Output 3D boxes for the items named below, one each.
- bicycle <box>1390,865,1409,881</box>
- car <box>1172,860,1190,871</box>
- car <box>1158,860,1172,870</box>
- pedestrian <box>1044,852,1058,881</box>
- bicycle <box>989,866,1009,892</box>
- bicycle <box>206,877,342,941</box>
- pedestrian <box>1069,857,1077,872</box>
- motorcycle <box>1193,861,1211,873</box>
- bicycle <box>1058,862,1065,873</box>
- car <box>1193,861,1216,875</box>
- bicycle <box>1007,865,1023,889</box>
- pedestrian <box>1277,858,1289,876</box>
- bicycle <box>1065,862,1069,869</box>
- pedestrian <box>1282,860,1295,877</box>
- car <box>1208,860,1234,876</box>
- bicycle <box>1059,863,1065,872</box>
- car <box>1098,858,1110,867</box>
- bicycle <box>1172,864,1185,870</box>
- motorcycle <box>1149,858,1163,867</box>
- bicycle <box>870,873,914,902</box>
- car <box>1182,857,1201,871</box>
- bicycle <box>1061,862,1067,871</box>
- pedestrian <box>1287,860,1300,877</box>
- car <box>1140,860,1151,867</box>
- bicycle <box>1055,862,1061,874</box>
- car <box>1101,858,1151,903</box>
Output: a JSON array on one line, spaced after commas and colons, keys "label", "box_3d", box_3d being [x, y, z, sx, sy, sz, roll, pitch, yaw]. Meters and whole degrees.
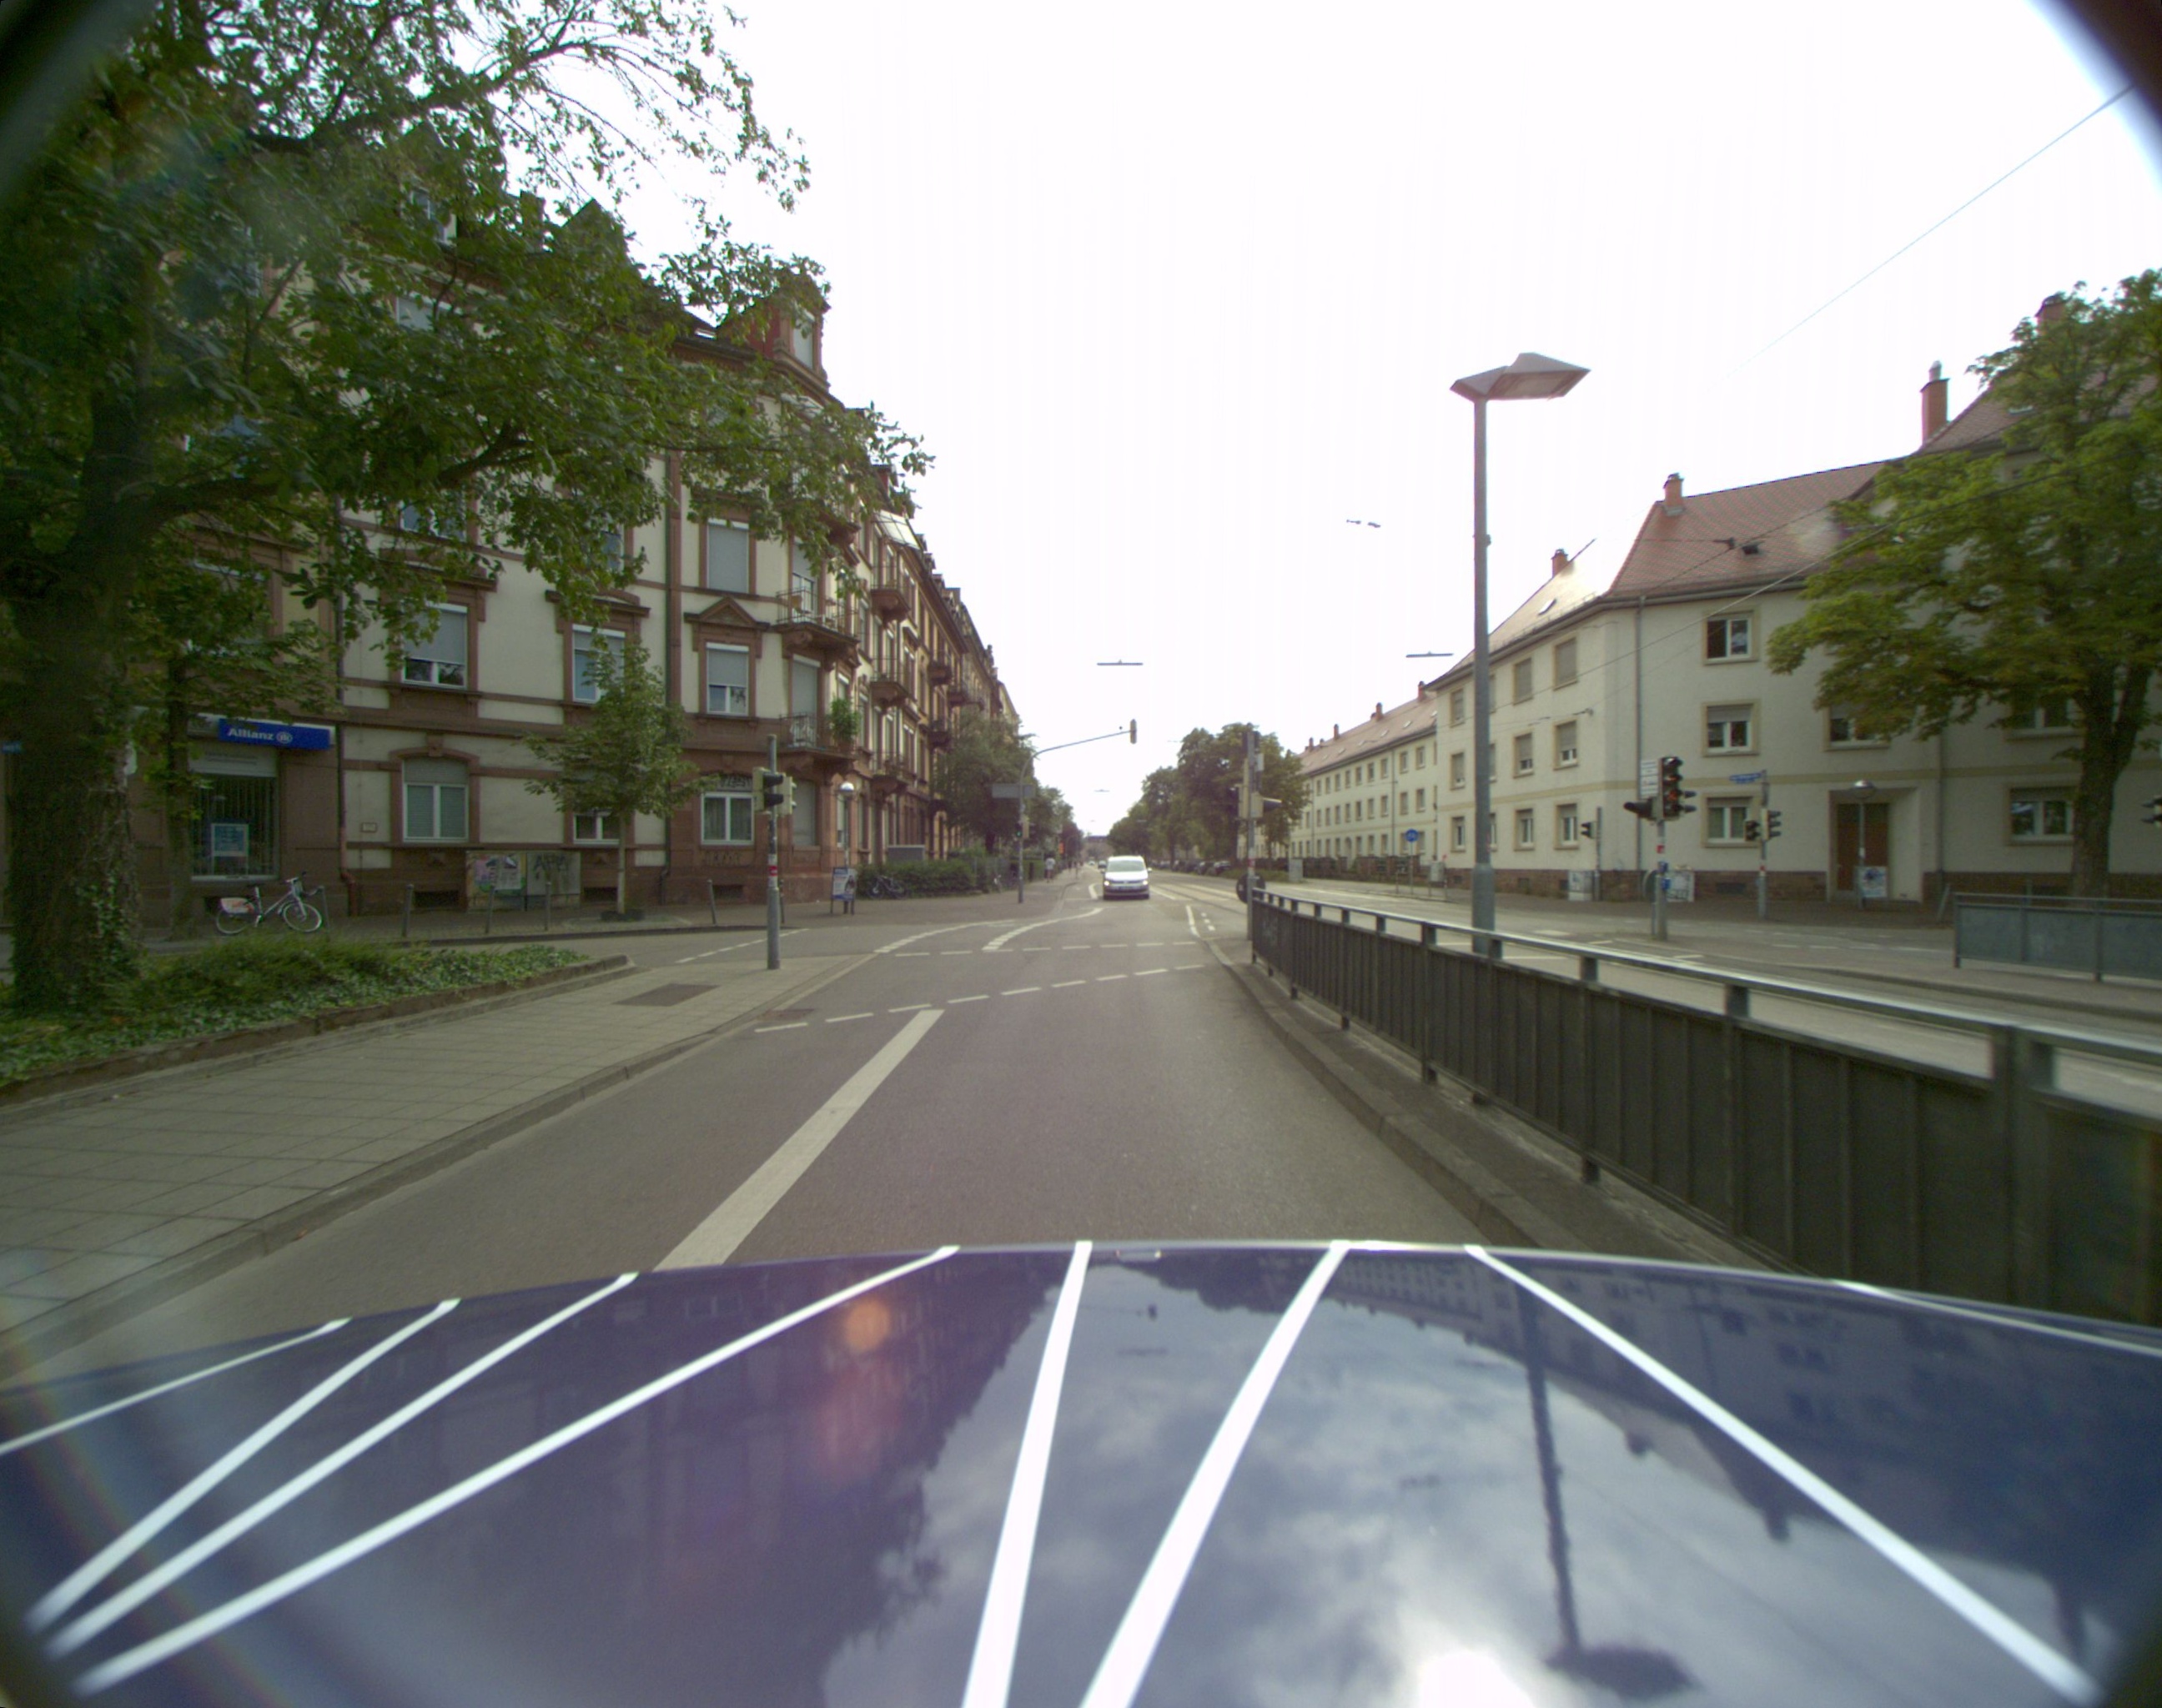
[{"label": "bicycle", "box_3d": [19.123, 1.120, 45.667, 0.479, 0.910, 1.672, 0, 0, 0]}, {"label": "car", "box_3d": [13.490, 1.577, 103.107, 1.701, 1.462, 4.299, 0, 0, -2]}, {"label": "car", "box_3d": [13.477, 1.752, 122.328, 1.701, 1.462, 4.299, 0, 0, -2]}, {"label": "pedestrian", "box_3d": [-1.863, 0.780, 47.304, 0.732, 1.743, 0.950, 0, 0, 5]}, {"label": "bicycle", "box_3d": [-3.527, 1.065, 32.935, 0.672, 1.100, 1.672, 0, 0, 0]}, {"label": "bicycle", "box_3d": [-15.005, 1.006, 14.162, 1.672, 1.137, 0.672, 0, 0, -9]}, {"label": "pedestrian", "box_3d": [-0.840, 1.105, 80.024, 0.732, 1.614, 0.835, 0, 0, 0]}, {"label": "motorcycle", "box_3d": [13.697, 1.480, 86.182, 1.871, 1.253, 0.592, -5, 0, -4]}, {"label": "bicycle", "box_3d": [-2.053, 1.394, 79.357, 0.580, 1.105, 1.672, 4, 0, -1]}, {"label": "car", "box_3d": [13.360, 1.461, 82.253, 1.701, 1.415, 4.300, -1, 0, 0]}, {"label": "bicycle", "box_3d": [-3.086, 1.067, 35.655, 0.510, 1.082, 1.550, 3, 0, 0]}, {"label": "pedestrian", "box_3d": [17.552, 1.113, 66.061, 0.835, 1.503, 0.732, 0, 0, -5]}, {"label": "bicycle", "box_3d": [-2.313, 1.877, 123.711, 0.630, 1.106, 1.874, 0, 0, 1]}, {"label": "pedestrian", "box_3d": [17.615, 1.206, 64.502, 0.835, 1.456, 0.732, 0, 0, -5]}, {"label": "car", "box_3d": [13.608, 1.324, 74.148, 1.701, 1.415, 4.300, -3, 0, 0]}, {"label": "bicycle", "box_3d": [-2.086, 1.496, 84.967, 0.580, 0.977, 1.672, 4, 0, -1]}, {"label": "car", "box_3d": [4.358, 1.665, 143.219, 1.946, 1.675, 4.001, 0, 0, 4]}, {"label": "bicycle", "box_3d": [13.775, 1.843, 107.697, 1.672, 0.965, 0.672, 0, 0, -9]}, {"label": "motorcycle", "box_3d": [13.632, 1.577, 137.927, 2.311, 1.382, 0.838, -5, 0, 32]}, {"label": "bicycle", "box_3d": [-6.441, 1.126, 25.954, 0.509, 0.964, 1.553, 0, 0, 33]}, {"label": "car", "box_3d": [13.632, 1.217, 93.778, 1.790, 1.602, 4.300, 0, 0, 0]}, {"label": "bicycle", "box_3d": [-2.058, 1.463, 90.857, 0.580, 0.977, 1.672, 4, 0, -1]}, {"label": "pedestrian", "box_3d": [17.706, 1.197, 63.356, 0.835, 1.456, 0.732, 0, 0, -5]}, {"label": "car", "box_3d": [13.554, 2.043, 159.678, 1.732, 1.462, 4.299, 0, 0, -2]}, {"label": "bicycle", "box_3d": [-2.211, 1.371, 73.998, 0.580, 1.105, 1.672, 0, 0, -1]}, {"label": "car", "box_3d": [1.865, 1.008, 31.186, 1.875, 1.670, 5.133, 0, 0, 4]}]
